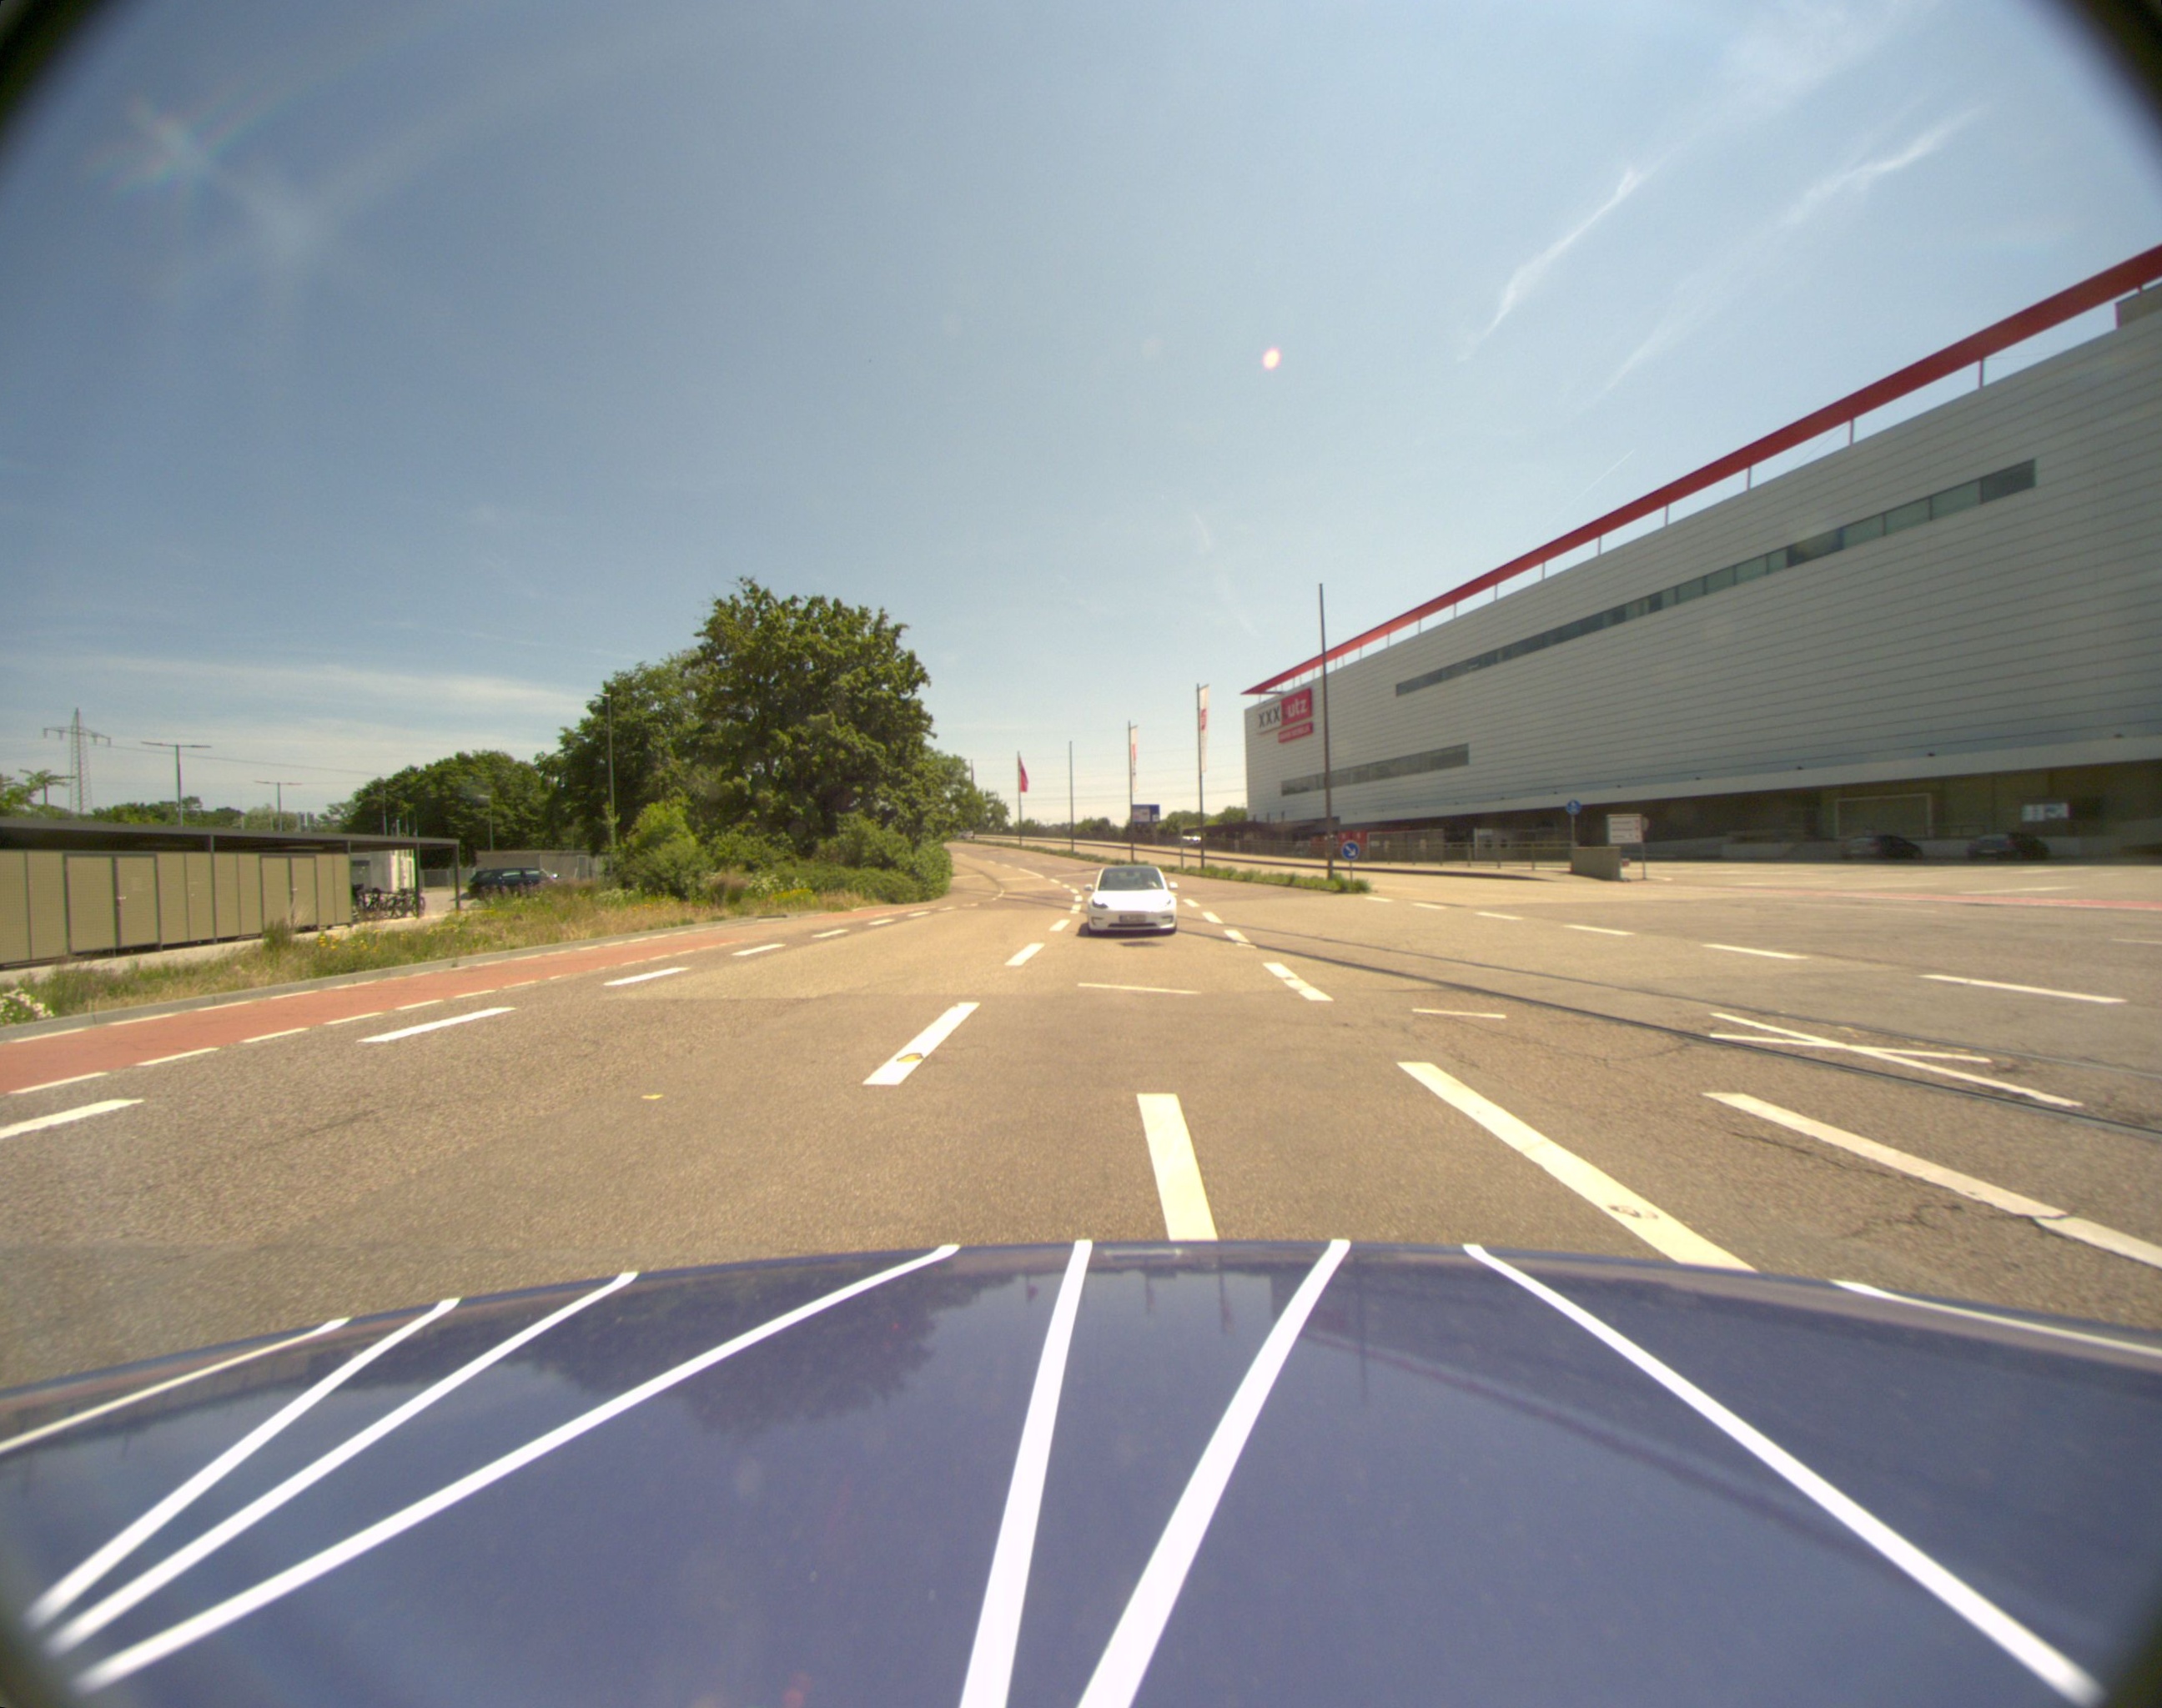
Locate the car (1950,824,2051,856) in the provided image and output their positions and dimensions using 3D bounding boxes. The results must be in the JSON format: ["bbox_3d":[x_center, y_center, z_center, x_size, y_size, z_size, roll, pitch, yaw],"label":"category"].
[{"bbox_3d":[46.985,-0.706,38.849,3.487,1.487,1.957,-2,1,-14],"label":"car"}]

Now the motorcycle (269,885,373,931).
[{"bbox_3d":[-23.960,1.679,23.997,2.113,1.279,0.850,-2,0,-23],"label":"motorcycle"}]

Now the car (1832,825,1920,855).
[{"bbox_3d":[45.607,-0.792,43.607,3.751,1.610,1.909,-2,1,-15],"label":"car"}]

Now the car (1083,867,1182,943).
[{"bbox_3d":[1.022,1.056,17.318,1.880,1.416,4.406,-2,0,-1],"label":"car"}]

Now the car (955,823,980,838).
[{"bbox_3d":[-17.976,-3.773,120.236,1.848,2.129,3.987,-10,9,-40],"label":"car"}]

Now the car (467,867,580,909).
[{"bbox_3d":[-25.122,1.481,34.299,4.007,1.652,1.833,-2,1,-39],"label":"car"}]

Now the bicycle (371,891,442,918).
[{"bbox_3d":[-25.042,1.862,28.227,1.866,0.859,0.582,-2,1,-17],"label":"bicycle"}]

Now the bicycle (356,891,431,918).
[{"bbox_3d":[-24.795,1.818,27.434,1.885,0.859,0.589,-2,1,-17],"label":"bicycle"}]
